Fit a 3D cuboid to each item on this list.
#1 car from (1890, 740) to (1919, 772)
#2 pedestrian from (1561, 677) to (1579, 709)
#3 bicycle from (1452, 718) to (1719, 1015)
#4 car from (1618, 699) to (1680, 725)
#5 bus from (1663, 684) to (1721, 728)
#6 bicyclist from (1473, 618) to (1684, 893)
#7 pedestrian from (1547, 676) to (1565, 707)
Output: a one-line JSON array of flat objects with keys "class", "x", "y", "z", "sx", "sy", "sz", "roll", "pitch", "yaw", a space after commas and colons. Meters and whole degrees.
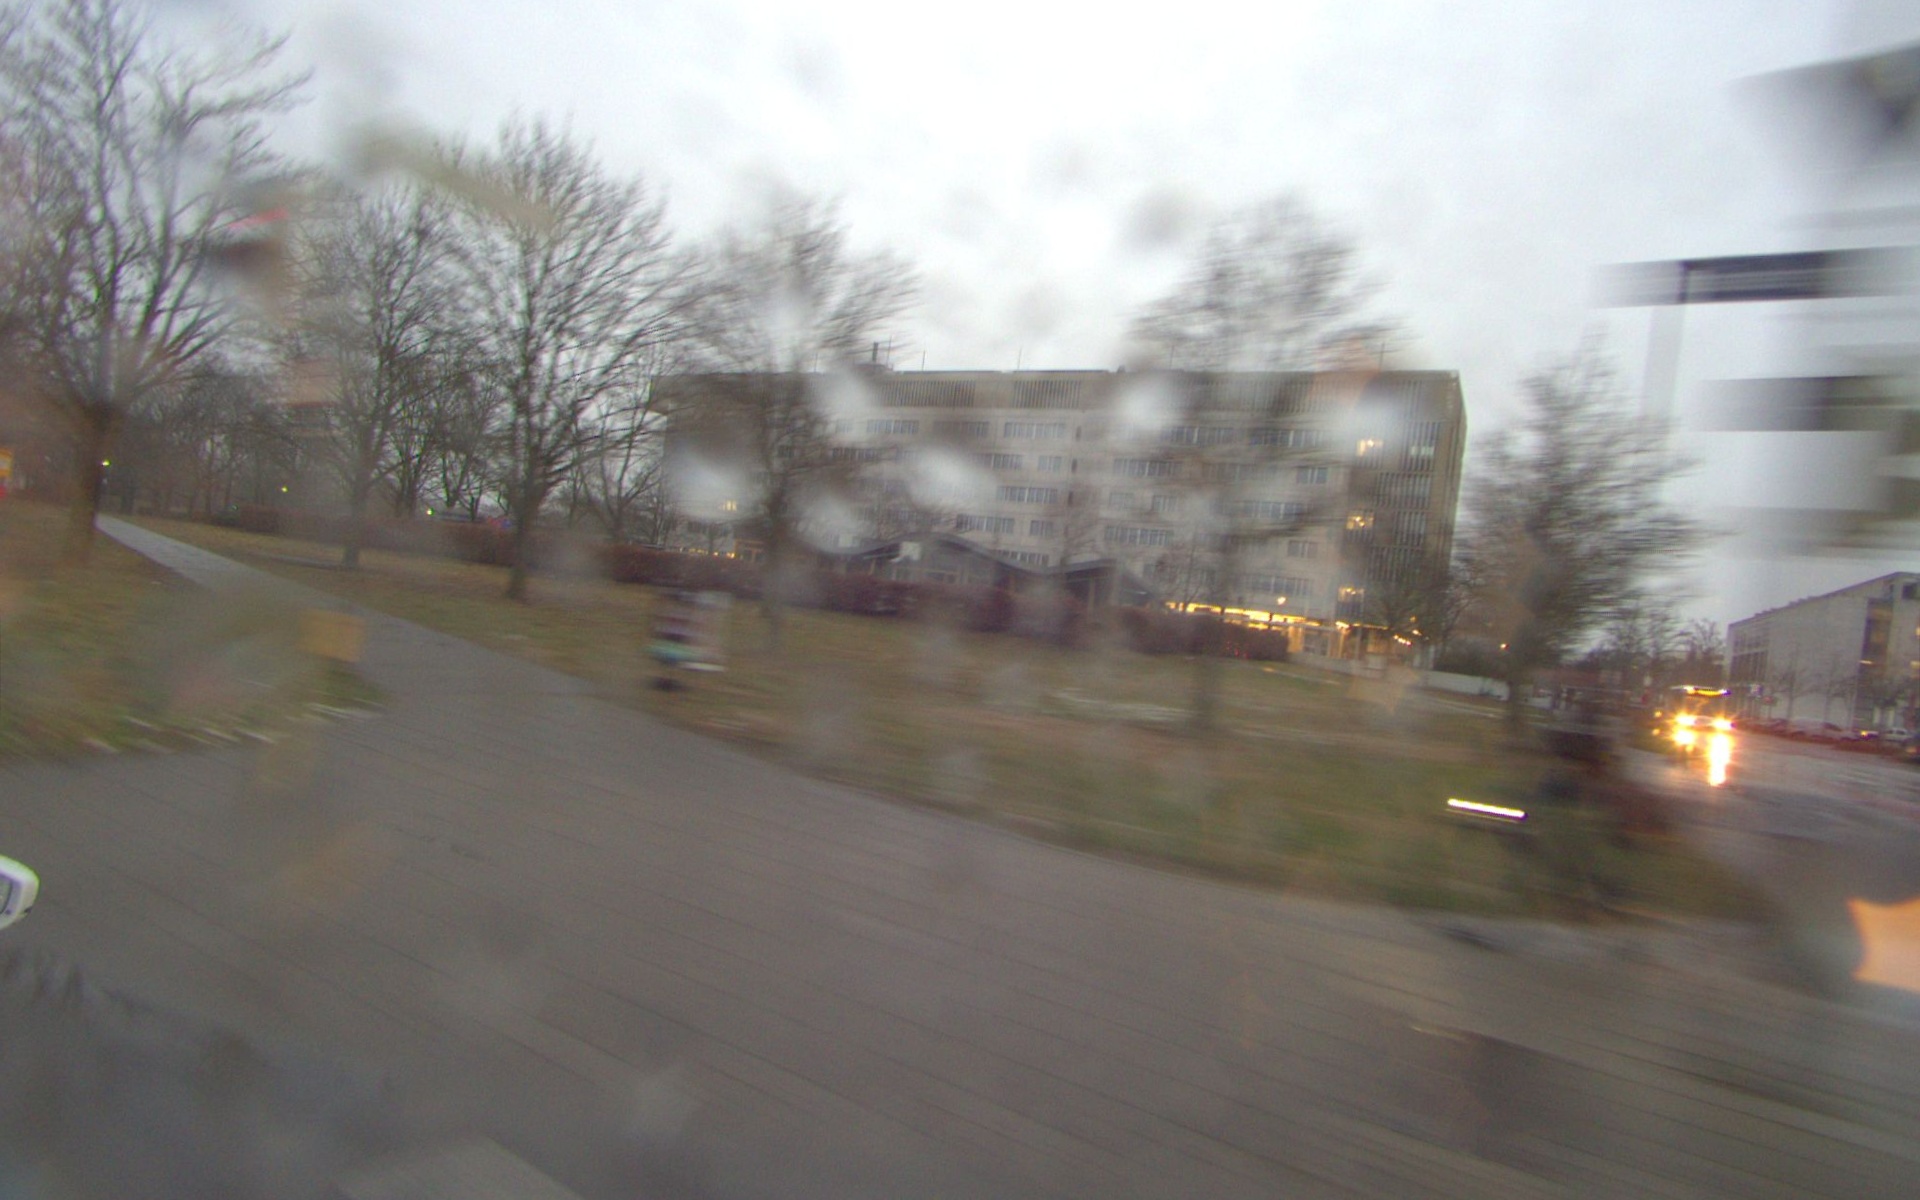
[{"class": "car", "x": 51.686, "y": 8.417, "z": 52.657, "sx": 4.054, "sy": 1.546, "sz": 1.606, "roll": 6, "pitch": -3, "yaw": 30}, {"class": "pedestrian", "x": 41.100, "y": 6.261, "z": 67.775, "sx": 0.801, "sy": 2.036, "sz": 0.751, "roll": 6, "pitch": -2, "yaw": 30}, {"class": "bicycle", "x": 3.655, "y": 1.459, "z": 6.120, "sx": 1.022, "sy": 1.231, "sz": 1.968, "roll": 8, "pitch": 1, "yaw": 26}, {"class": "car", "x": 54.946, "y": 8.908, "z": 80.330, "sx": 3.937, "sy": 1.496, "sz": 1.832, "roll": 5, "pitch": -3, "yaw": 35}, {"class": "bus", "x": 53.543, "y": 7.809, "z": 73.728, "sx": 2.258, "sy": 2.742, "sz": 8.142, "roll": 6, "pitch": -3, "yaw": 30}, {"class": "bicyclist", "x": 3.741, "y": 0.902, "z": 6.130, "sx": 0.911, "sy": 1.446, "sz": 0.752, "roll": 6, "pitch": -2, "yaw": 32}, {"class": "pedestrian", "x": 40.646, "y": 6.245, "z": 68.614, "sx": 0.789, "sy": 2.036, "sz": 0.640, "roll": 6, "pitch": -2, "yaw": 36}]
